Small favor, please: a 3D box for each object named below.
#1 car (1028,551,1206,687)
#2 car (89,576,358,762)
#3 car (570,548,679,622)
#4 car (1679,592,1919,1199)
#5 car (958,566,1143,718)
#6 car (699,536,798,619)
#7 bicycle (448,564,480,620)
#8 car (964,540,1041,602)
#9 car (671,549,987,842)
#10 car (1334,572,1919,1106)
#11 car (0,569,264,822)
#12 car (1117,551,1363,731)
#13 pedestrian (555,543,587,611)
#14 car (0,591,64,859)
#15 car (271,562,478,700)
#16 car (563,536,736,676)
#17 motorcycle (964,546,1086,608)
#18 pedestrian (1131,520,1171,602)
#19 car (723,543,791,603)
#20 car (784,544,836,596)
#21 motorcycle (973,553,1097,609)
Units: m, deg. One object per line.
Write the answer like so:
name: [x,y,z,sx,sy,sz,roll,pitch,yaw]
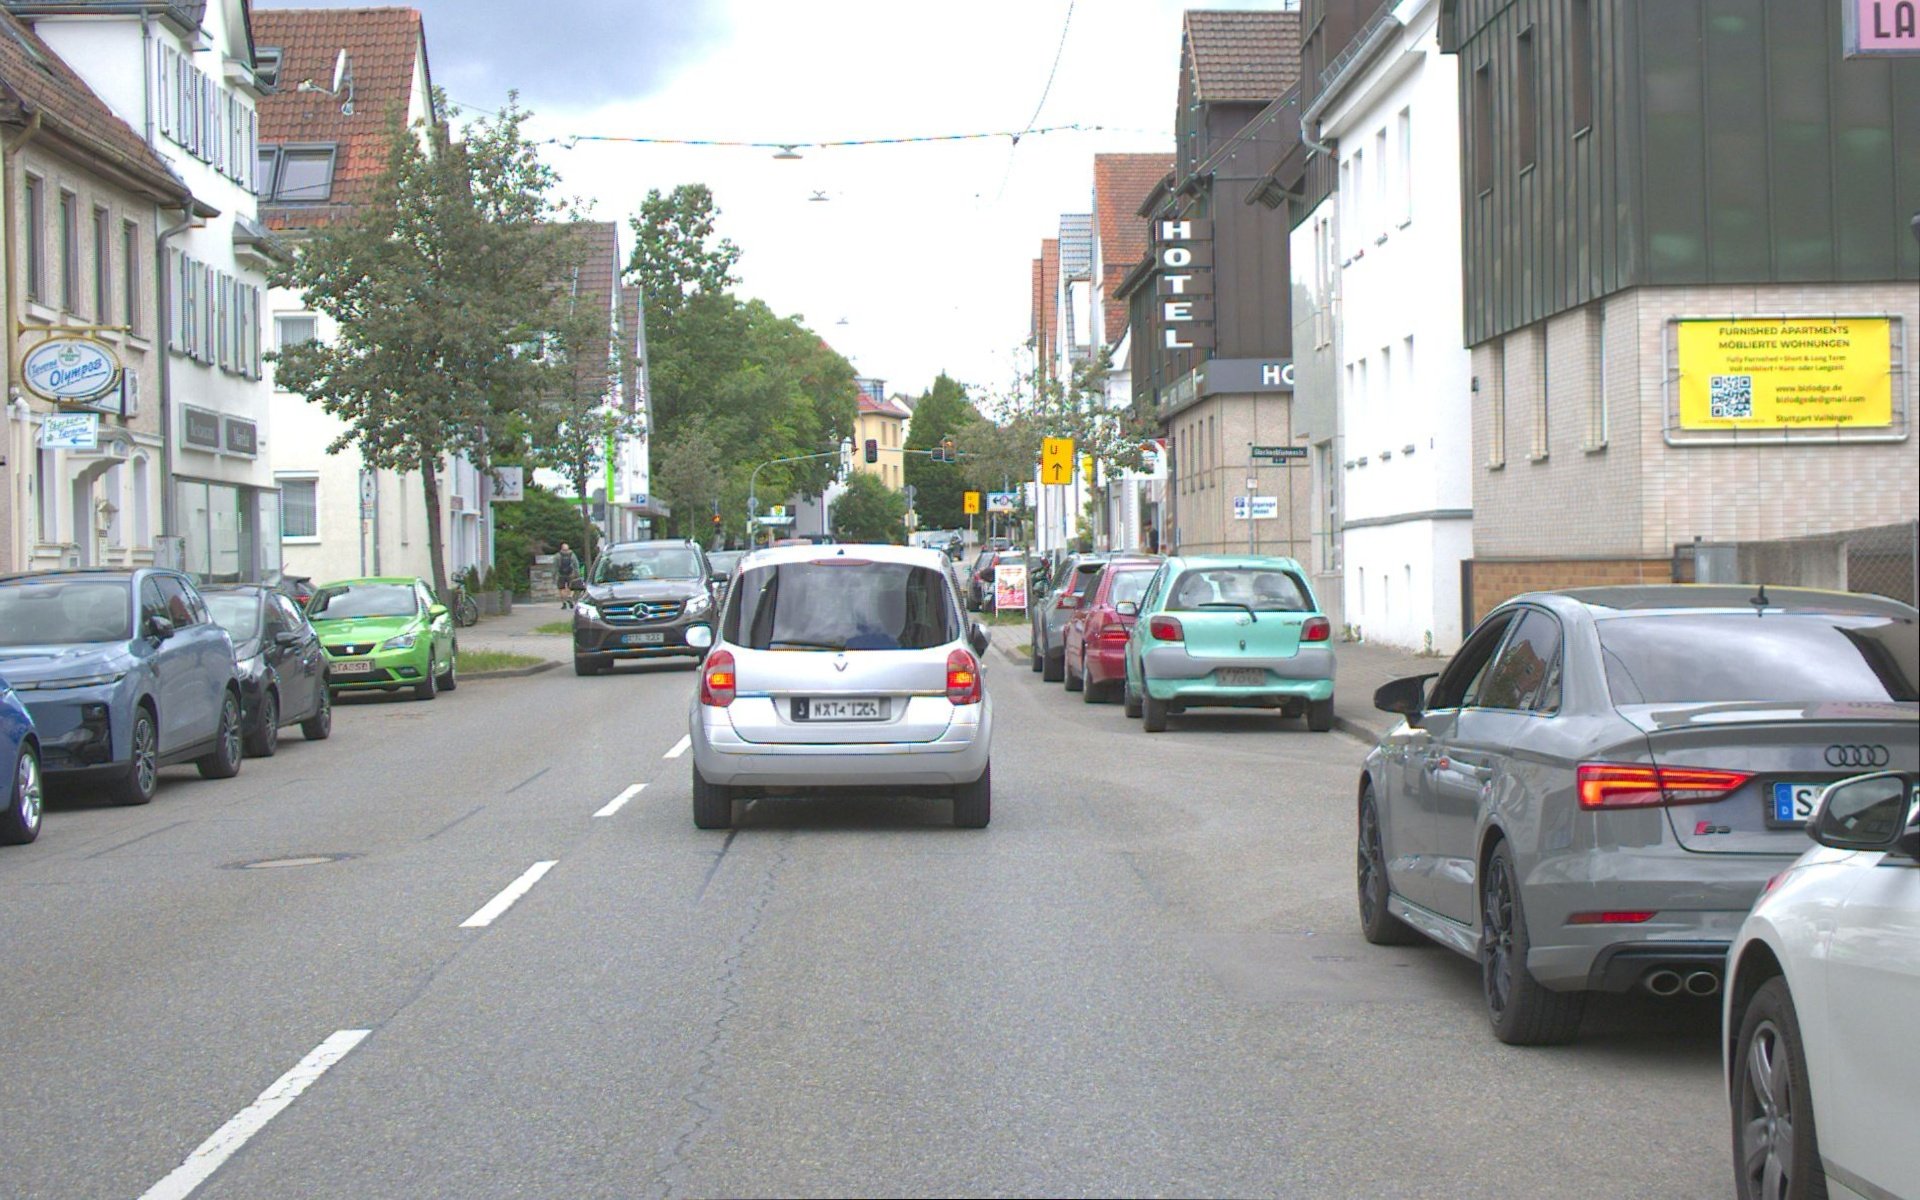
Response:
car: [1.829,0.182,41.313,1.875,1.534,4.513,0,1,-1]
car: [-6.407,0.557,30.273,1.581,1.503,3.812,0,1,-1]
car: [-7.373,-0.353,75.926,1.948,1.462,4.516,-3,1,-1]
car: [2.591,0.736,5.540,1.831,1.441,4.332,0,1,-2]
car: [0.874,0.387,35.364,1.755,1.441,4.455,0,1,0]
car: [-4.339,-0.486,71.076,1.794,1.573,4.192,-3,1,-1]
bicycle: [-10.390,-0.170,72.046,0.514,1.149,1.666,0,1,-4]
car: [1.015,-0.723,83.462,1.700,1.462,4.239,0,1,-1]
car: [-0.711,0.478,20.304,1.682,1.560,3.993,0,1,0]
car: [2.462,0.641,11.538,1.831,1.441,4.110,0,1,-2]
car: [-6.356,0.628,24.696,1.803,1.593,4.305,-3,1,0]
car: [2.419,0.311,30.571,1.831,1.492,3.993,0,1,0]
pedestrian: [-10.374,-0.615,91.791,0.762,1.785,0.890,0,1,-1]
car: [-6.275,0.760,18.881,1.682,1.494,3.775,-3,1,0]
car: [-6.824,0.327,40.428,1.682,1.442,4.020,-3,1,0]
car: [-4.165,0.041,46.700,1.900,1.731,4.366,-3,1,0]
motorcycle: [1.435,-0.509,75.507,2.707,1.331,0.700,-1,1,-31]
pedestrian: [4.494,-0.911,80.875,0.857,1.921,0.900,0,1,-1]
car: [-5.307,-0.709,89.805,1.682,1.442,4.021,-3,1,-3]
car: [-5.931,-1.192,136.154,1.952,2.007,4.000,0,1,-1]
motorcycle: [1.632,-0.419,74.464,2.728,1.179,0.700,-1,1,-31]
